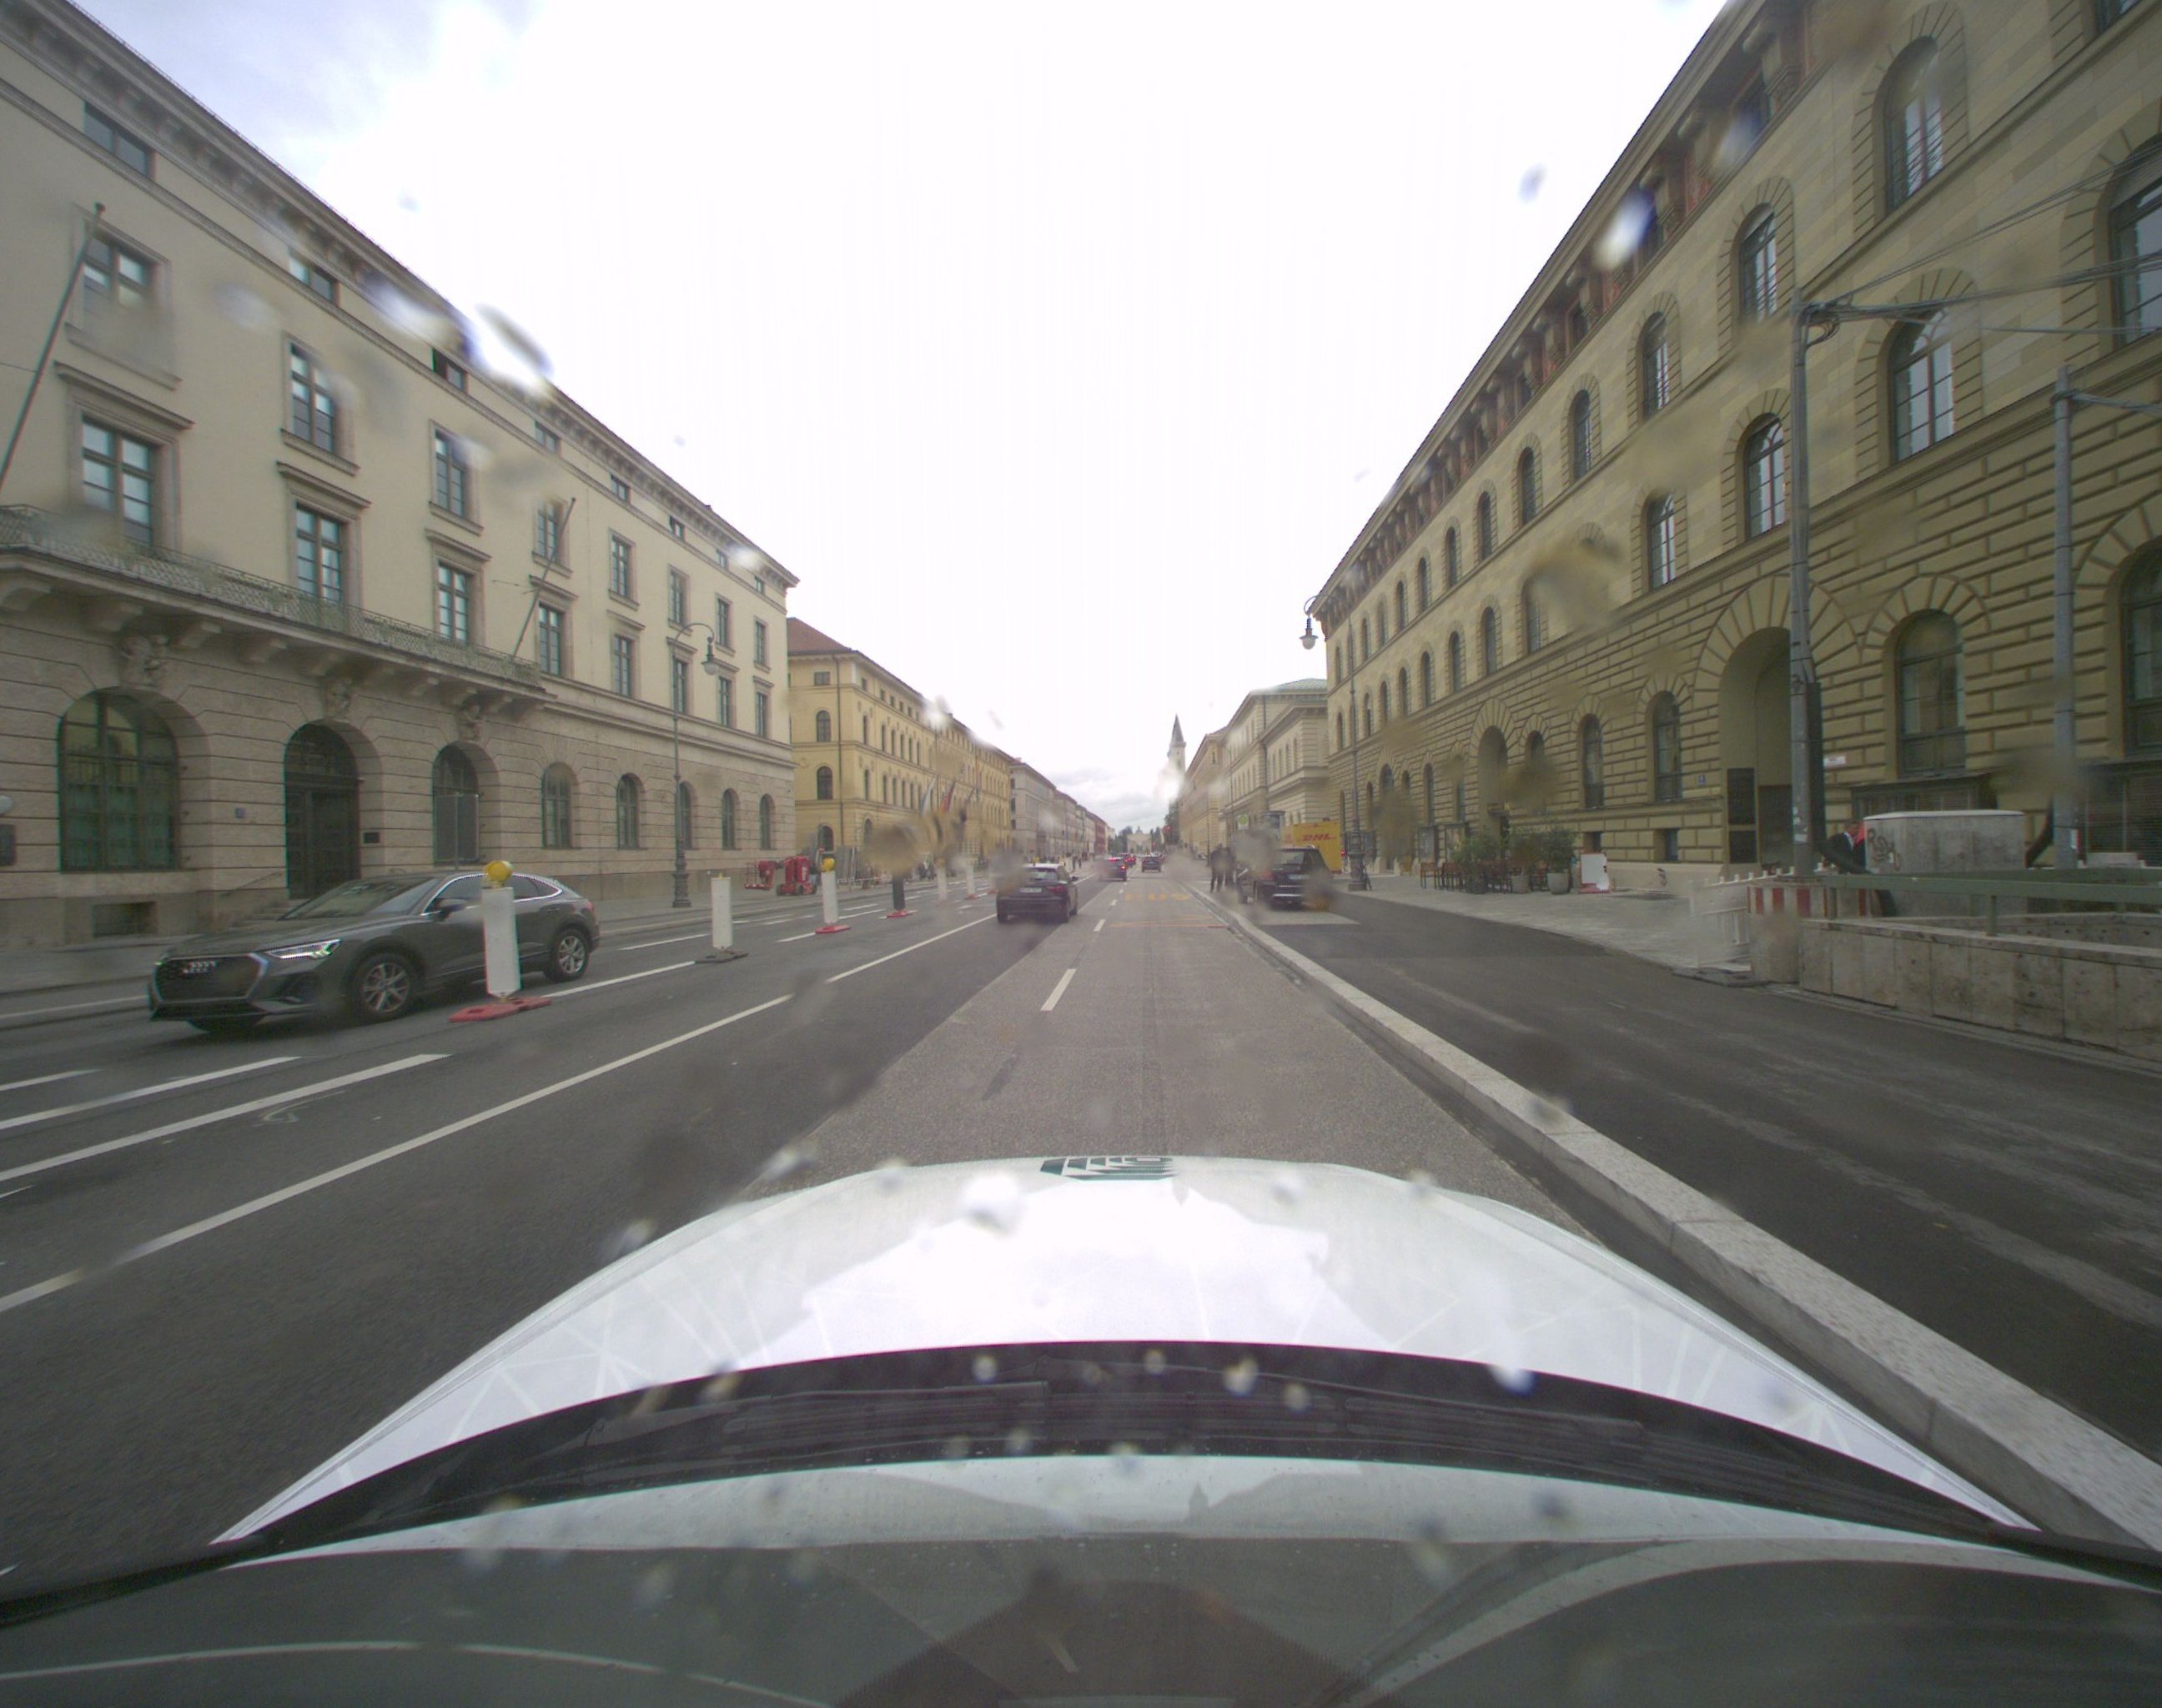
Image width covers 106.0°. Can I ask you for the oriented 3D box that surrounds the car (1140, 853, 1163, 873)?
[{"bbox_3d":[6.637,0.788,76.404,1.984,1.772,4.006,-2,0,5],"label":"car"}]

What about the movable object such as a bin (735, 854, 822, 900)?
[{"bbox_3d":[-14.575,1.082,39.681,1.504,2.014,5.983,-2,-1,5],"label":"movable object such as a bin"}]

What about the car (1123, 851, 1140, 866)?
[{"bbox_3d":[6.558,0.545,105.192,1.984,1.772,4.006,-2,0,5],"label":"car"}]

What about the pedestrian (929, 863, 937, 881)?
[{"bbox_3d":[-12.252,1.488,67.472,0.537,1.411,0.617,-2,-2,1],"label":"pedestrian"}]

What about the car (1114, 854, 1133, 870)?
[{"bbox_3d":[4.862,0.894,92.962,1.984,1.772,4.006,-2,0,5],"label":"car"}]

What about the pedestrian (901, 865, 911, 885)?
[{"bbox_3d":[-13.531,1.608,62.972,0.550,1.530,0.617,-2,-2,1],"label":"pedestrian"}]

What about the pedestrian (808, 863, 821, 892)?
[{"bbox_3d":[-15.920,1.413,48.661,0.550,1.676,0.617,-2,-2,1],"label":"pedestrian"}]

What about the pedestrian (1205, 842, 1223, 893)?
[{"bbox_3d":[4.992,0.495,30.631,0.612,1.875,0.542,-2,-2,8],"label":"pedestrian"}]

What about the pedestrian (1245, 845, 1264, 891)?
[{"bbox_3d":[6.552,0.530,30.794,0.612,1.702,0.542,-2,-2,7],"label":"pedestrian"}]

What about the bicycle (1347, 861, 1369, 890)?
[{"bbox_3d":[10.182,0.790,29.962,0.515,1.022,1.655,-2,-1,11],"label":"bicycle"}]

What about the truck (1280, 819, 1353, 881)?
[{"bbox_3d":[11.513,-0.124,40.284,2.607,2.765,5.820,-2,-1,8],"label":"truck"}]

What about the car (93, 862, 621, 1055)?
[{"bbox_3d":[-7.738,0.953,9.519,1.778,1.567,4.581,-4,0,4],"label":"car"}]

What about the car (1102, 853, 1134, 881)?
[{"bbox_3d":[2.362,0.834,51.220,1.760,1.617,4.005,-2,-1,5],"label":"car"}]

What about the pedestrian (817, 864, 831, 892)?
[{"bbox_3d":[-15.337,1.416,48.656,0.610,1.652,0.617,-2,-2,1],"label":"pedestrian"}]

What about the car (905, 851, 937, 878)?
[{"bbox_3d":[-14.409,0.958,73.589,1.730,2.289,4.005,-2,-1,5],"label":"car"}]

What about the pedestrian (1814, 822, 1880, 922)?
[{"bbox_3d":[13.558,0.323,14.431,0.553,1.712,0.680,-2,-2,18],"label":"pedestrian"}]

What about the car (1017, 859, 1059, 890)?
[{"bbox_3d":[-2.394,1.140,46.180,1.760,1.617,4.005,-2,-1,5],"label":"car"}]

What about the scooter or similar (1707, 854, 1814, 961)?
[{"bbox_3d":[8.549,0.656,10.252,1.136,1.250,0.297,-3,-1,-9],"label":"scooter or similar"}]

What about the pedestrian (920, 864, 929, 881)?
[{"bbox_3d":[-12.999,1.520,67.577,0.537,1.406,0.617,-2,-2,1],"label":"pedestrian"}]

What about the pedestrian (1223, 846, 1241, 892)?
[{"bbox_3d":[5.654,0.555,30.487,0.612,1.702,0.542,-2,-2,7],"label":"pedestrian"}]

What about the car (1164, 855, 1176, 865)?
[{"bbox_3d":[14.474,1.026,132.277,1.851,1.579,4.005,-2,-1,5],"label":"car"}]

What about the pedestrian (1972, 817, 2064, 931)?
[{"bbox_3d":[13.235,0.276,11.519,0.496,1.554,0.631,-2,-1,3],"label":"pedestrian"}]

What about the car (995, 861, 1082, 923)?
[{"bbox_3d":[-0.980,0.904,20.809,1.856,1.388,4.002,-1,0,2],"label":"car"}]

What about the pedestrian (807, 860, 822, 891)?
[{"bbox_3d":[-16.813,1.368,51.398,0.677,1.931,0.652,-2,-2,1],"label":"pedestrian"}]

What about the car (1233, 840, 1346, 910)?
[{"bbox_3d":[5.416,0.515,21.752,2.061,1.662,4.225,-1,0,2],"label":"car"}]
